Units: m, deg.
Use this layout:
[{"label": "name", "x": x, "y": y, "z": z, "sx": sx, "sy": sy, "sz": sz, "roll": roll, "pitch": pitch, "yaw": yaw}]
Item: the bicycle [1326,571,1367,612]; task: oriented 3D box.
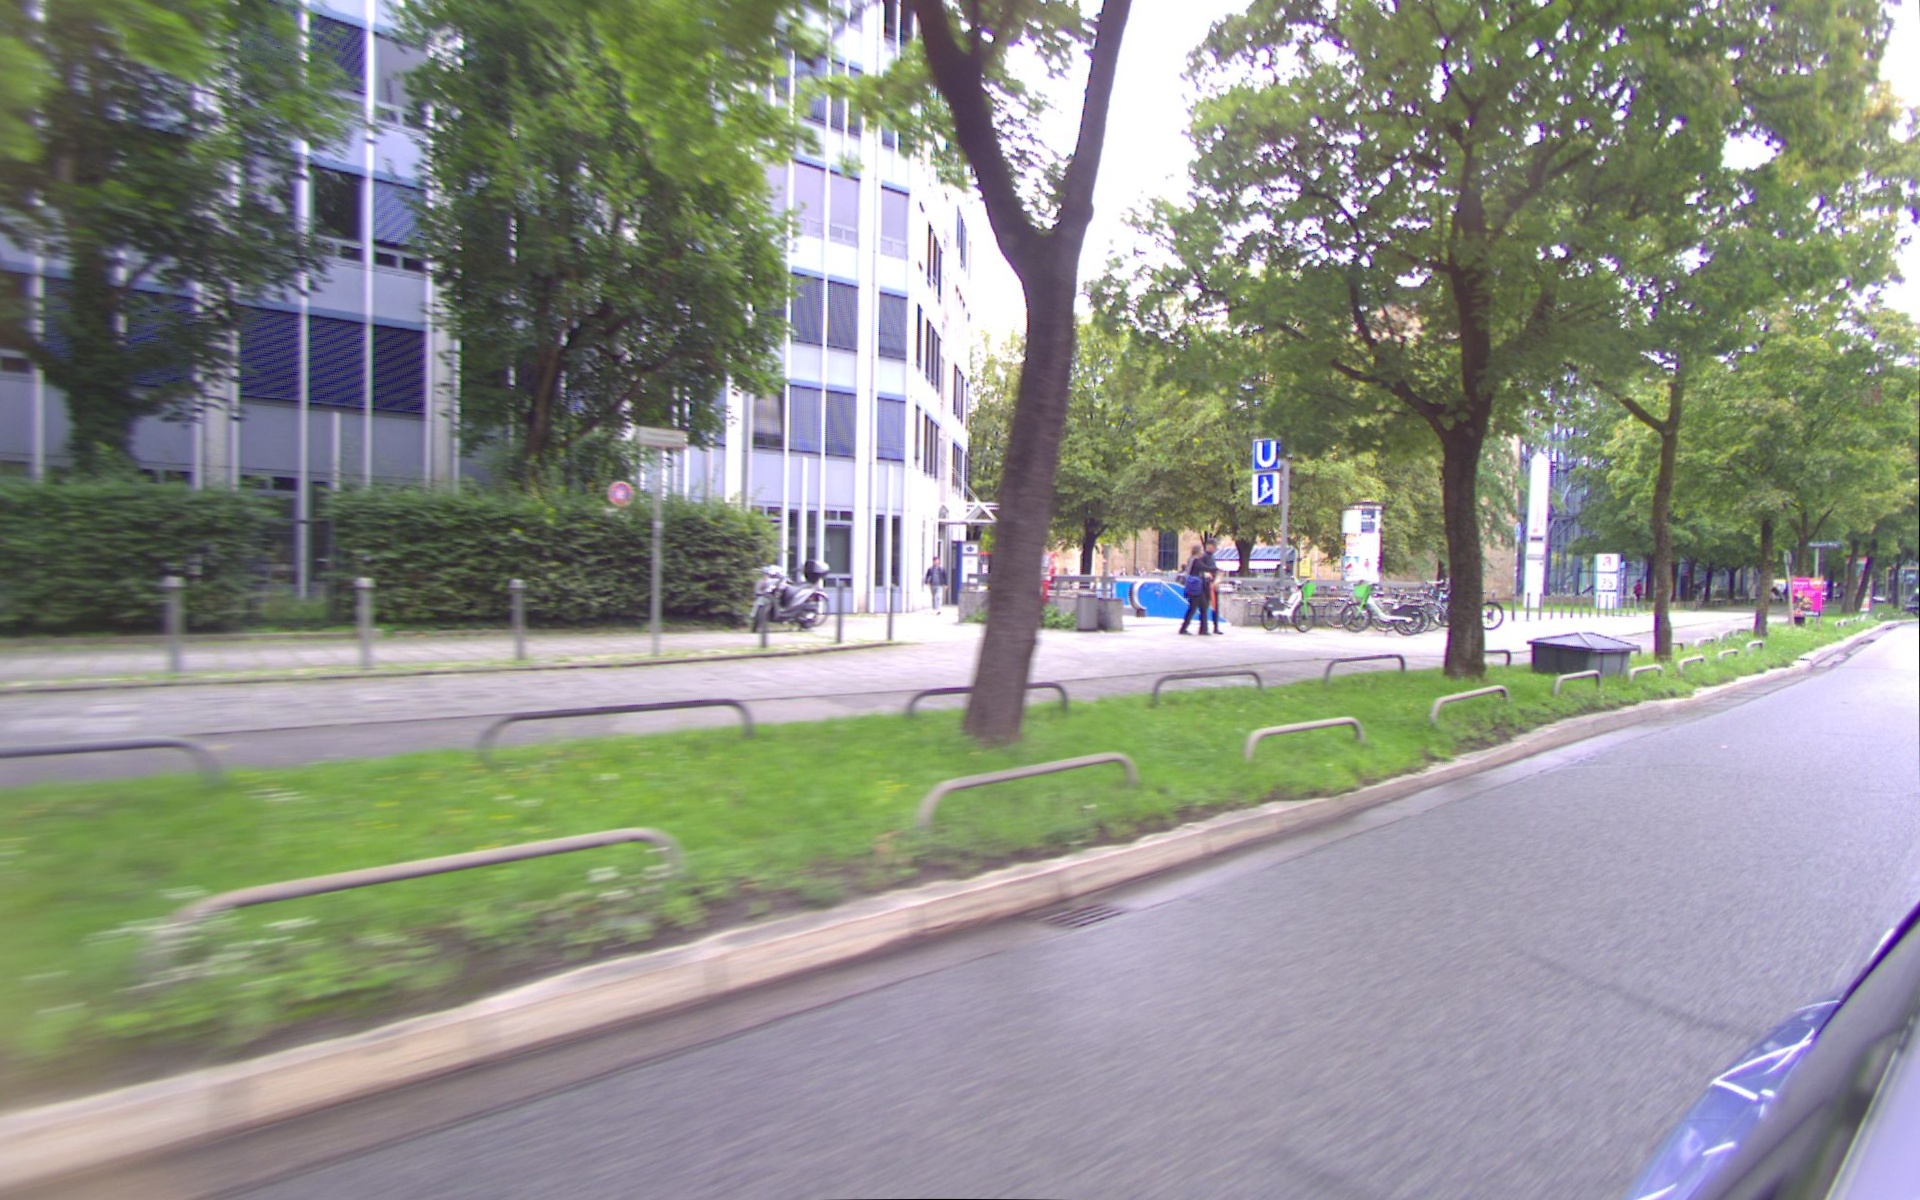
[{"label": "bicycle", "x": 11.836, "y": -0.261, "z": 30.938, "sx": 0.445, "sy": 1.203, "sz": 2.110, "roll": 2, "pitch": 2, "yaw": 41}]

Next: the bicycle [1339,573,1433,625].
[{"label": "bicycle", "x": 10.216, "y": -0.040, "z": 24.316, "sx": 1.921, "sy": 1.096, "sz": 0.596, "roll": 4, "pitch": 2, "yaw": 8}]

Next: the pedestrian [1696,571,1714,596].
[{"label": "pedestrian", "x": 52.578, "y": -1.162, "z": 71.436, "sx": 0.631, "sy": 1.665, "sz": 0.741, "roll": 0, "pitch": 3, "yaw": -16}]

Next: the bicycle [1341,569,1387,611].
[{"label": "bicycle", "x": 12.084, "y": -0.310, "z": 30.239, "sx": 1.920, "sy": 1.203, "sz": 0.446, "roll": -1, "pitch": 2, "yaw": -41}]

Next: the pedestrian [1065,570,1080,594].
[{"label": "pedestrian", "x": 8.046, "y": -1.300, "z": 72.235, "sx": 0.850, "sy": 1.699, "sz": 0.588, "roll": 0, "pitch": 2, "yaw": -39}]

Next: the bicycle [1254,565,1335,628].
[{"label": "bicycle", "x": 7.039, "y": -0.066, "z": 21.281, "sx": 1.825, "sy": 1.241, "sz": 0.532, "roll": 2, "pitch": 3, "yaw": -34}]

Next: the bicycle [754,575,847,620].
[{"label": "bicycle", "x": -3.268, "y": -0.040, "z": 20.832, "sx": 1.803, "sy": 0.864, "sz": 0.683, "roll": 1, "pitch": 1, "yaw": -43}]

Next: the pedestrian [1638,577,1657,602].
[{"label": "pedestrian", "x": 46.771, "y": -0.721, "z": 68.822, "sx": 0.847, "sy": 1.665, "sz": 0.739, "roll": -1, "pitch": 4, "yaw": -36}]

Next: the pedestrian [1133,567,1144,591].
[{"label": "pedestrian", "x": 12.760, "y": -1.519, "z": 72.214, "sx": 0.581, "sy": 1.699, "sz": 0.504, "roll": 1, "pitch": 1, "yaw": -17}]

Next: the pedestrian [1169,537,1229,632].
[{"label": "pedestrian", "x": 4.511, "y": -0.299, "z": 19.096, "sx": 0.735, "sy": 1.735, "sz": 0.787, "roll": 0, "pitch": 2, "yaw": -24}]

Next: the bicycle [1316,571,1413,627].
[{"label": "bicycle", "x": 9.404, "y": -0.042, "z": 23.561, "sx": 1.922, "sy": 1.122, "sz": 0.579, "roll": 5, "pitch": 2, "yaw": 8}]

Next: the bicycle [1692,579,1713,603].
[{"label": "bicycle", "x": 40.524, "y": -0.524, "z": 55.216, "sx": 1.889, "sy": 1.265, "sz": 0.621, "roll": -1, "pitch": 3, "yaw": -45}]

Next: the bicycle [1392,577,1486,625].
[{"label": "bicycle", "x": 12.225, "y": 0.017, "z": 25.860, "sx": 2.006, "sy": 1.102, "sz": 0.604, "roll": 2, "pitch": 4, "yaw": 8}]

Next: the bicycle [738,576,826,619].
[{"label": "bicycle", "x": -3.757, "y": -0.039, "z": 21.490, "sx": 1.803, "sy": 0.864, "sz": 0.553, "roll": 1, "pitch": 1, "yaw": -43}]

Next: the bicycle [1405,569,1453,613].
[{"label": "bicycle", "x": 13.225, "y": -0.269, "z": 28.518, "sx": 1.920, "sy": 1.203, "sz": 0.488, "roll": -1, "pitch": 2, "yaw": -41}]

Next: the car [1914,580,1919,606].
[{"label": "car", "x": 61.725, "y": -0.398, "z": 63.749, "sx": 4.523, "sy": 1.610, "sz": 1.864, "roll": -1, "pitch": 3, "yaw": -41}]

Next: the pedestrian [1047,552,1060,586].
[{"label": "pedestrian", "x": 4.124, "y": -1.370, "z": 44.467, "sx": 0.386, "sy": 1.510, "sz": 0.385, "roll": 0, "pitch": 2, "yaw": -30}]

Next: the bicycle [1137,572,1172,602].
[{"label": "bicycle", "x": 8.757, "y": -0.592, "z": 45.425, "sx": 0.508, "sy": 1.276, "sz": 2.143, "roll": 2, "pitch": 2, "yaw": 41}]

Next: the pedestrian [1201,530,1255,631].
[{"label": "pedestrian", "x": 5.200, "y": -0.379, "z": 19.643, "sx": 0.733, "sy": 1.923, "sz": 0.654, "roll": 0, "pitch": 2, "yaw": -26}]

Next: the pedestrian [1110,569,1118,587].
[{"label": "pedestrian", "x": 11.320, "y": -1.625, "z": 74.433, "sx": 0.418, "sy": 1.299, "sz": 0.507, "roll": 2, "pitch": 2, "yaw": 37}]

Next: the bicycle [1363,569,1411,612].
[{"label": "bicycle", "x": 12.422, "y": -0.284, "z": 29.398, "sx": 1.920, "sy": 1.203, "sz": 0.488, "roll": -1, "pitch": 2, "yaw": -41}]

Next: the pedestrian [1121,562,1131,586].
[{"label": "pedestrian", "x": 11.851, "y": -1.848, "z": 72.212, "sx": 0.584, "sy": 1.699, "sz": 0.501, "roll": 1, "pitch": 1, "yaw": 13}]

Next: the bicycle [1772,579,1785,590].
[{"label": "bicycle", "x": 70.023, "y": -1.304, "z": 86.576, "sx": 2.104, "sy": 0.952, "sz": 0.512, "roll": -1, "pitch": 2, "yaw": -40}]

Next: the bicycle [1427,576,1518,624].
[{"label": "bicycle", "x": 13.552, "y": -0.003, "z": 26.789, "sx": 1.997, "sy": 1.112, "sz": 0.580, "roll": 3, "pitch": 4, "yaw": 7}]

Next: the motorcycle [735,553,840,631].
[{"label": "motorcycle", "x": -3.082, "y": -0.169, "z": 18.305, "sx": 0.547, "sy": 1.335, "sz": 2.046, "roll": 2, "pitch": 2, "yaw": 37}]

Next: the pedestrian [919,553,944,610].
[{"label": "pedestrian", "x": -0.854, "y": -0.562, "z": 30.716, "sx": 0.687, "sy": 1.699, "sz": 0.653, "roll": 1, "pitch": 1, "yaw": 4}]

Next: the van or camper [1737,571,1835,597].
[{"label": "van or camper", "x": 122.277, "y": -2.385, "z": 149.994, "sx": 3.267, "sy": 3.597, "sz": 10.879, "roll": 0, "pitch": 2, "yaw": -42}]

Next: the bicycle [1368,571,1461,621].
[{"label": "bicycle", "x": 11.224, "y": -0.107, "z": 25.039, "sx": 1.921, "sy": 1.078, "sz": 0.579, "roll": 4, "pitch": 3, "yaw": 8}]

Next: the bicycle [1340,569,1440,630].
[{"label": "bicycle", "x": 9.593, "y": -0.033, "z": 22.649, "sx": 1.929, "sy": 1.203, "sz": 0.593, "roll": 4, "pitch": 2, "yaw": 19}]

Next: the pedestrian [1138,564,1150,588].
[{"label": "pedestrian", "x": 13.248, "y": -1.739, "z": 72.994, "sx": 0.583, "sy": 1.699, "sz": 0.563, "roll": 0, "pitch": 2, "yaw": -39}]

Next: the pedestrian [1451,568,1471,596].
[{"label": "pedestrian", "x": 30.711, "y": -1.101, "z": 62.079, "sx": 0.861, "sy": 1.666, "sz": 0.573, "roll": 1, "pitch": 2, "yaw": -8}]

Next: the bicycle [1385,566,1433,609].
[{"label": "bicycle", "x": 12.856, "y": -0.368, "z": 28.966, "sx": 1.920, "sy": 1.203, "sz": 0.488, "roll": -1, "pitch": 2, "yaw": -41}]

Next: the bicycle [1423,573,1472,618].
[{"label": "bicycle", "x": 13.572, "y": -0.126, "z": 28.134, "sx": 1.920, "sy": 1.203, "sz": 0.488, "roll": -1, "pitch": 2, "yaw": -41}]
